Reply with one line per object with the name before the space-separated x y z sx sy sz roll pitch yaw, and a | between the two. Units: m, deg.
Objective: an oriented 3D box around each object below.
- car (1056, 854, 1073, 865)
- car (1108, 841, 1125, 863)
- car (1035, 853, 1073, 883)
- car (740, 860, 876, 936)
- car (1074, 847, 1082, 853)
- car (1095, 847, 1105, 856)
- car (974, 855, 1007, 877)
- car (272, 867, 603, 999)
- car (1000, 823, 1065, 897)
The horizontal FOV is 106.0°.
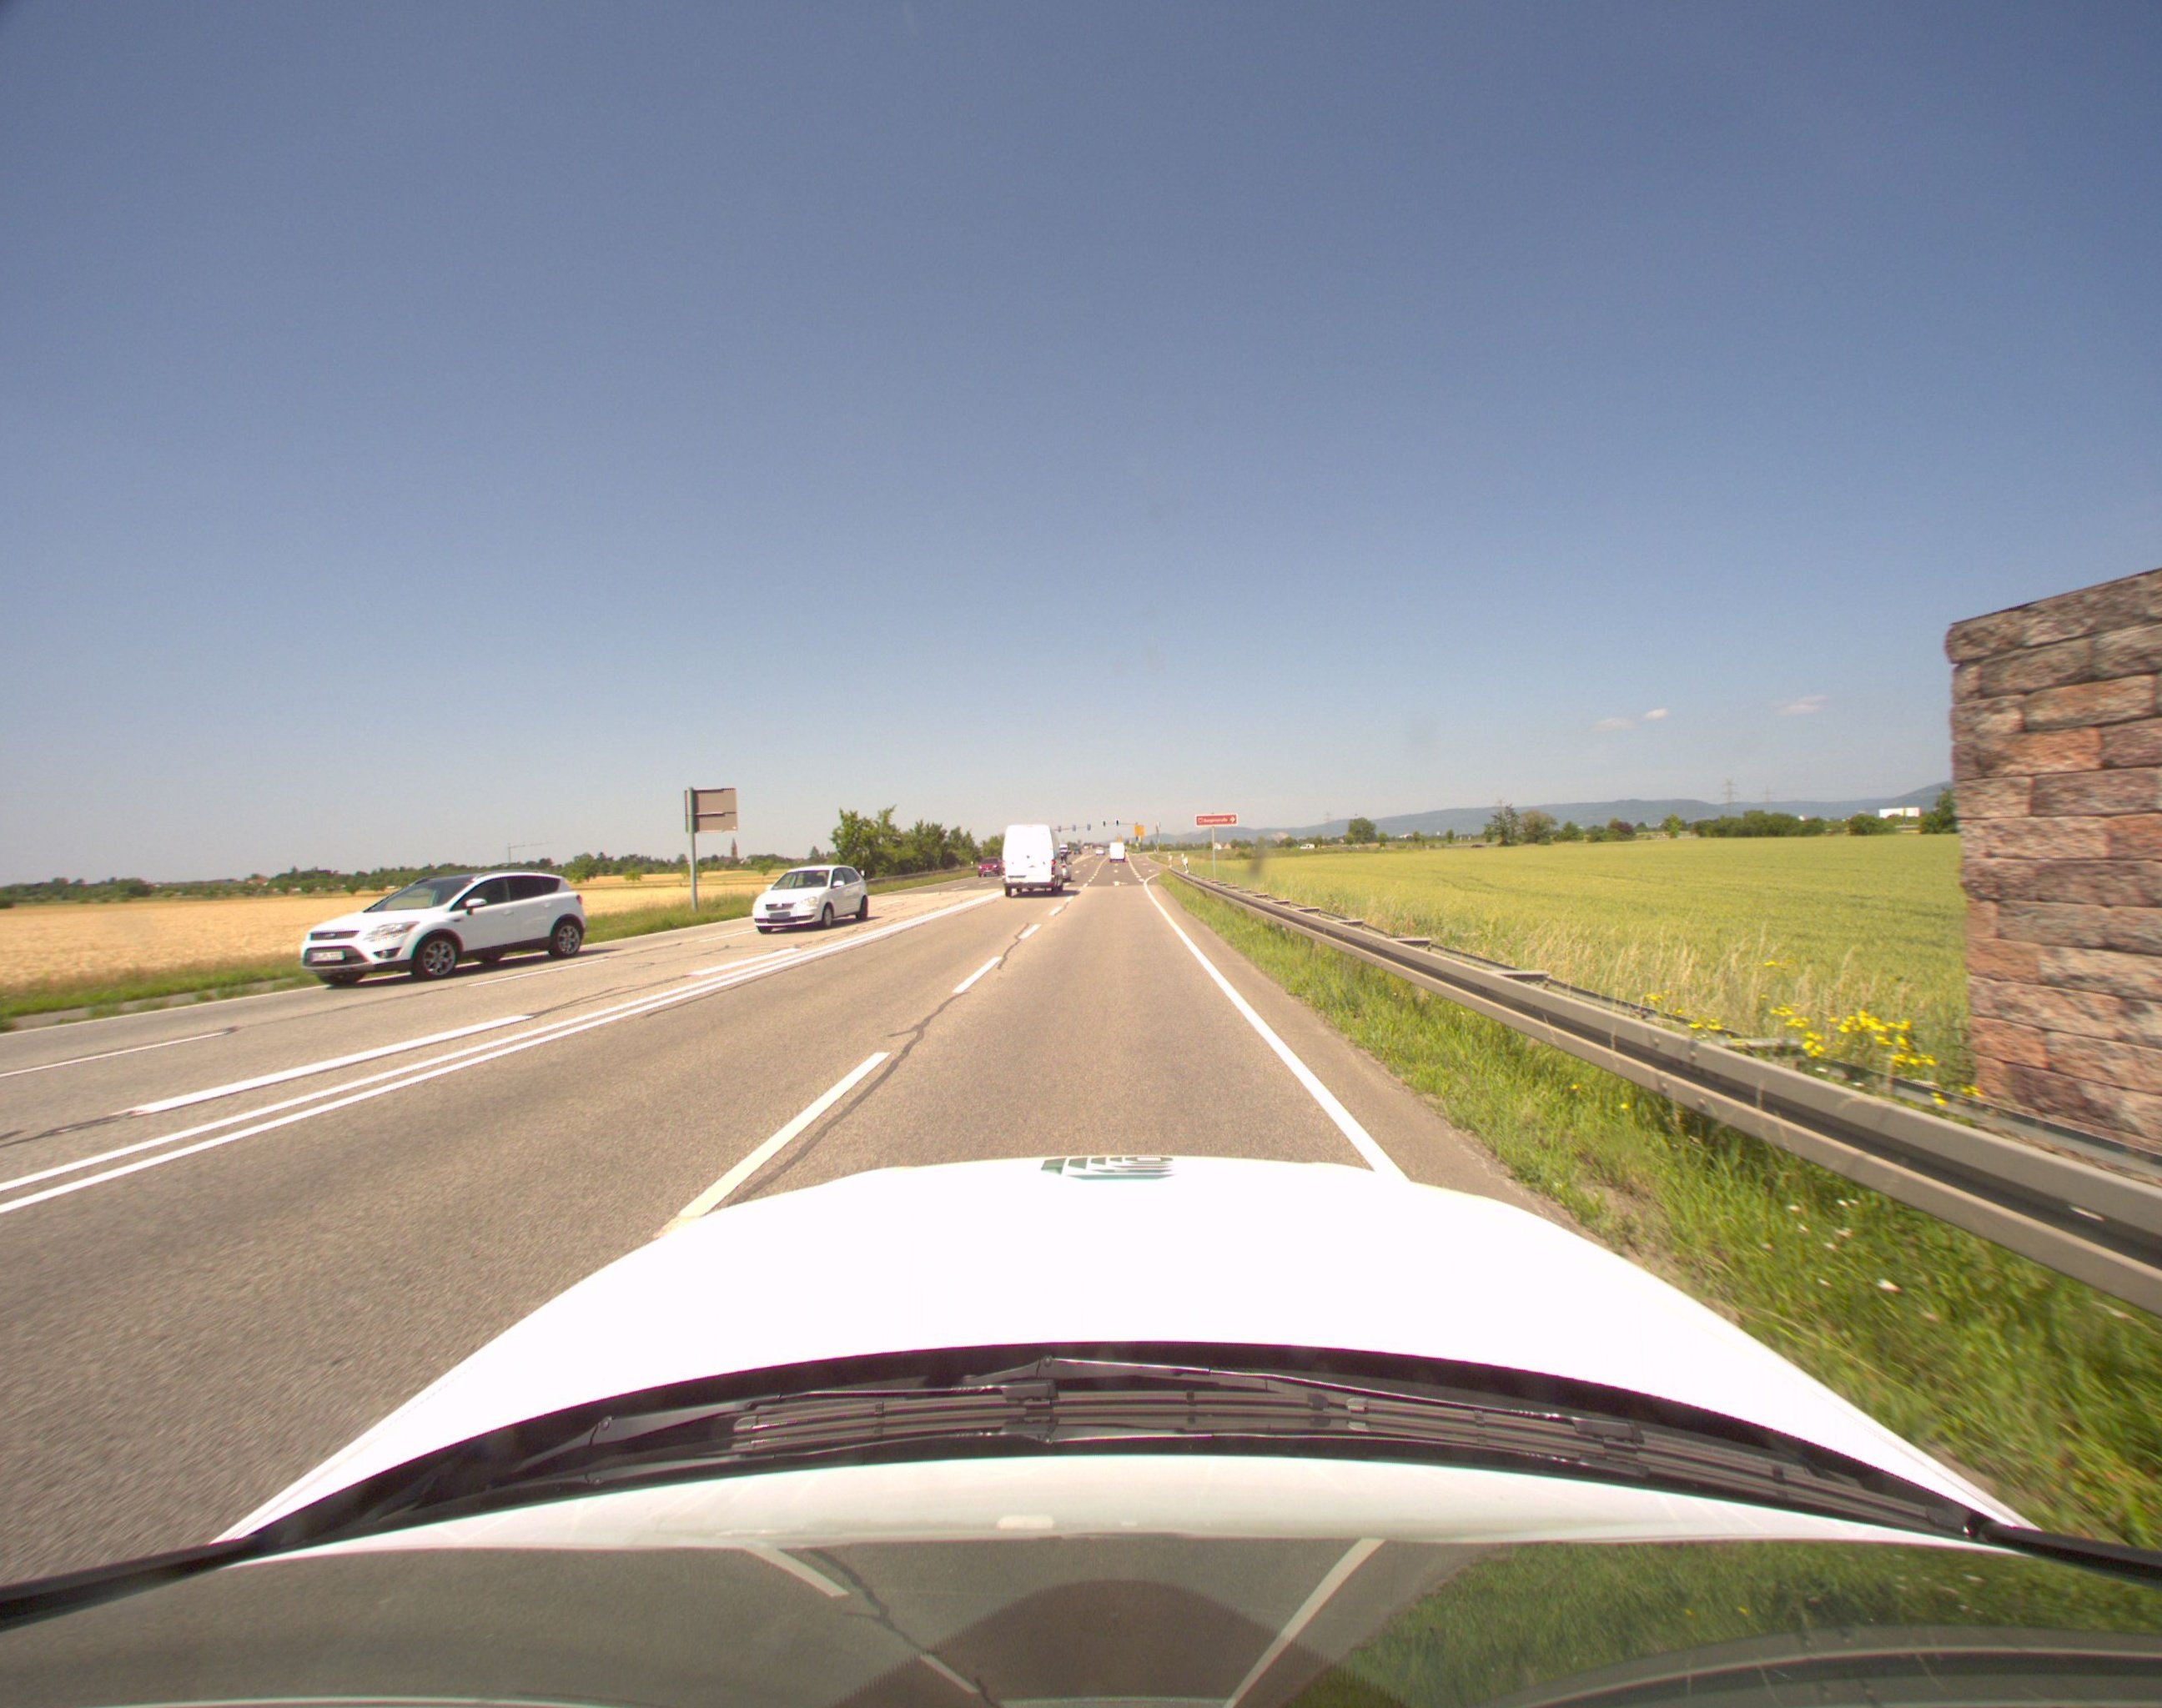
car | -2.278 0.771 113.347 1.849 1.423 4.004 -3 0 4
car | 4.626 -0.292 105.808 1.986 2.695 4.972 -3 0 2
car | -1.469 0.726 45.685 1.792 1.508 4.199 -2 1 2
car | -6.500 0.985 19.894 1.742 1.442 4.084 -4 1 2
car | -0.710 -0.884 197.338 1.849 1.423 4.004 -2 -1 4
car | 4.094 -0.507 172.055 1.985 1.703 4.278 -1 -1 3
car | -7.546 1.009 68.452 1.985 1.562 4.315 -4 1 3
car | -10.648 1.191 14.027 1.656 1.676 4.472 -4 0 8
car | -1.798 0.248 32.121 2.032 2.620 5.742 -1 -1 1
